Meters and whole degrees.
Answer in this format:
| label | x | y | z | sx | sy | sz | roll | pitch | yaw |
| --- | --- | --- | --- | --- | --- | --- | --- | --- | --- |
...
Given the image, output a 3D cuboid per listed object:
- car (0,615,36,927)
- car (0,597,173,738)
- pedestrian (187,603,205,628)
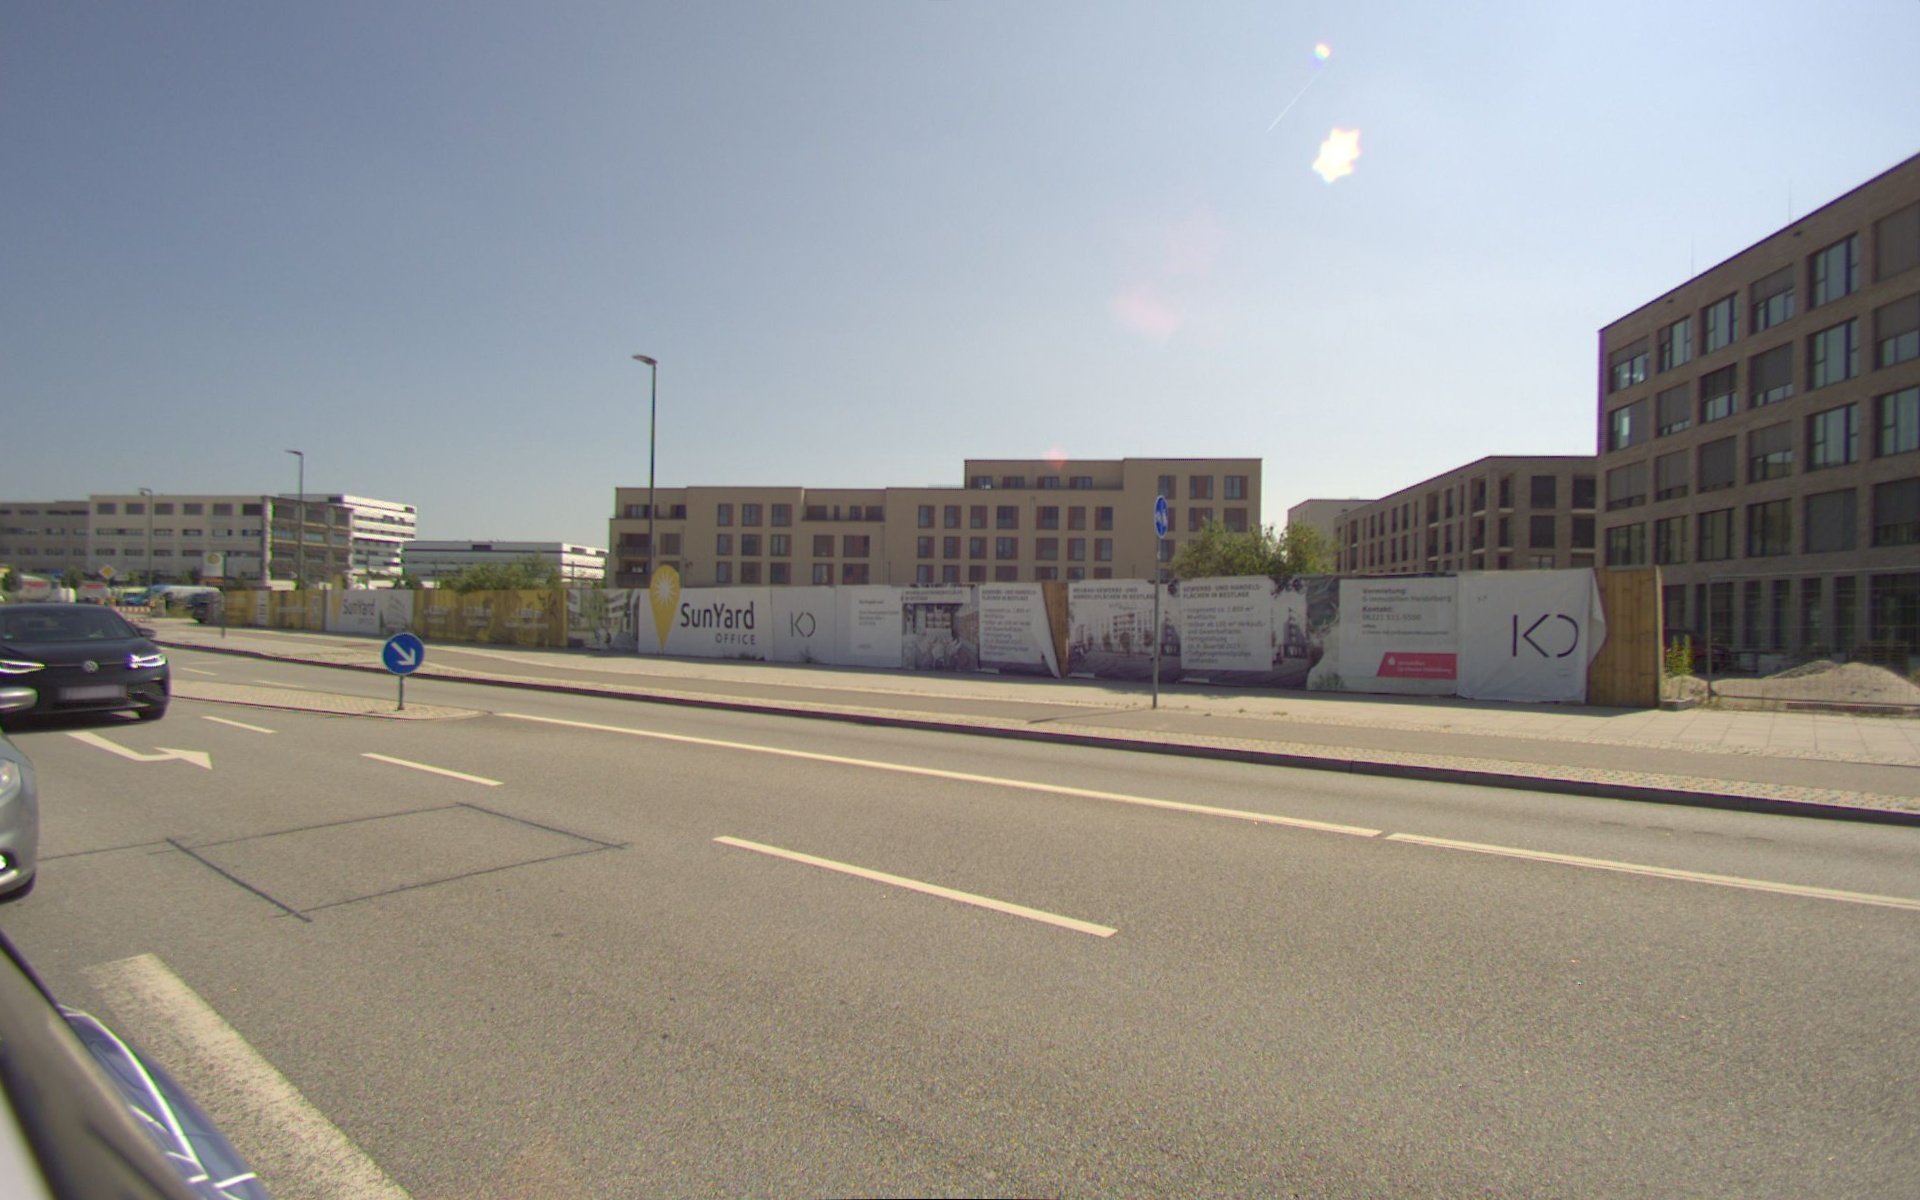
| label | x | y | z | sx | sy | sz | roll | pitch | yaw |
| --- | --- | --- | --- | --- | --- | --- | --- | --- | --- |
| car | -6.342 | 0.794 | 5.308 | 4.134 | 1.390 | 1.762 | -1 | 0 | 41 |
| car | -12.471 | 0.812 | 13.943 | 4.364 | 1.654 | 1.783 | -1 | 0 | 41 |
| pedestrian | -49.088 | 0.986 | 65.016 | 0.610 | 1.598 | 0.703 | -1 | 0 | 5 |
